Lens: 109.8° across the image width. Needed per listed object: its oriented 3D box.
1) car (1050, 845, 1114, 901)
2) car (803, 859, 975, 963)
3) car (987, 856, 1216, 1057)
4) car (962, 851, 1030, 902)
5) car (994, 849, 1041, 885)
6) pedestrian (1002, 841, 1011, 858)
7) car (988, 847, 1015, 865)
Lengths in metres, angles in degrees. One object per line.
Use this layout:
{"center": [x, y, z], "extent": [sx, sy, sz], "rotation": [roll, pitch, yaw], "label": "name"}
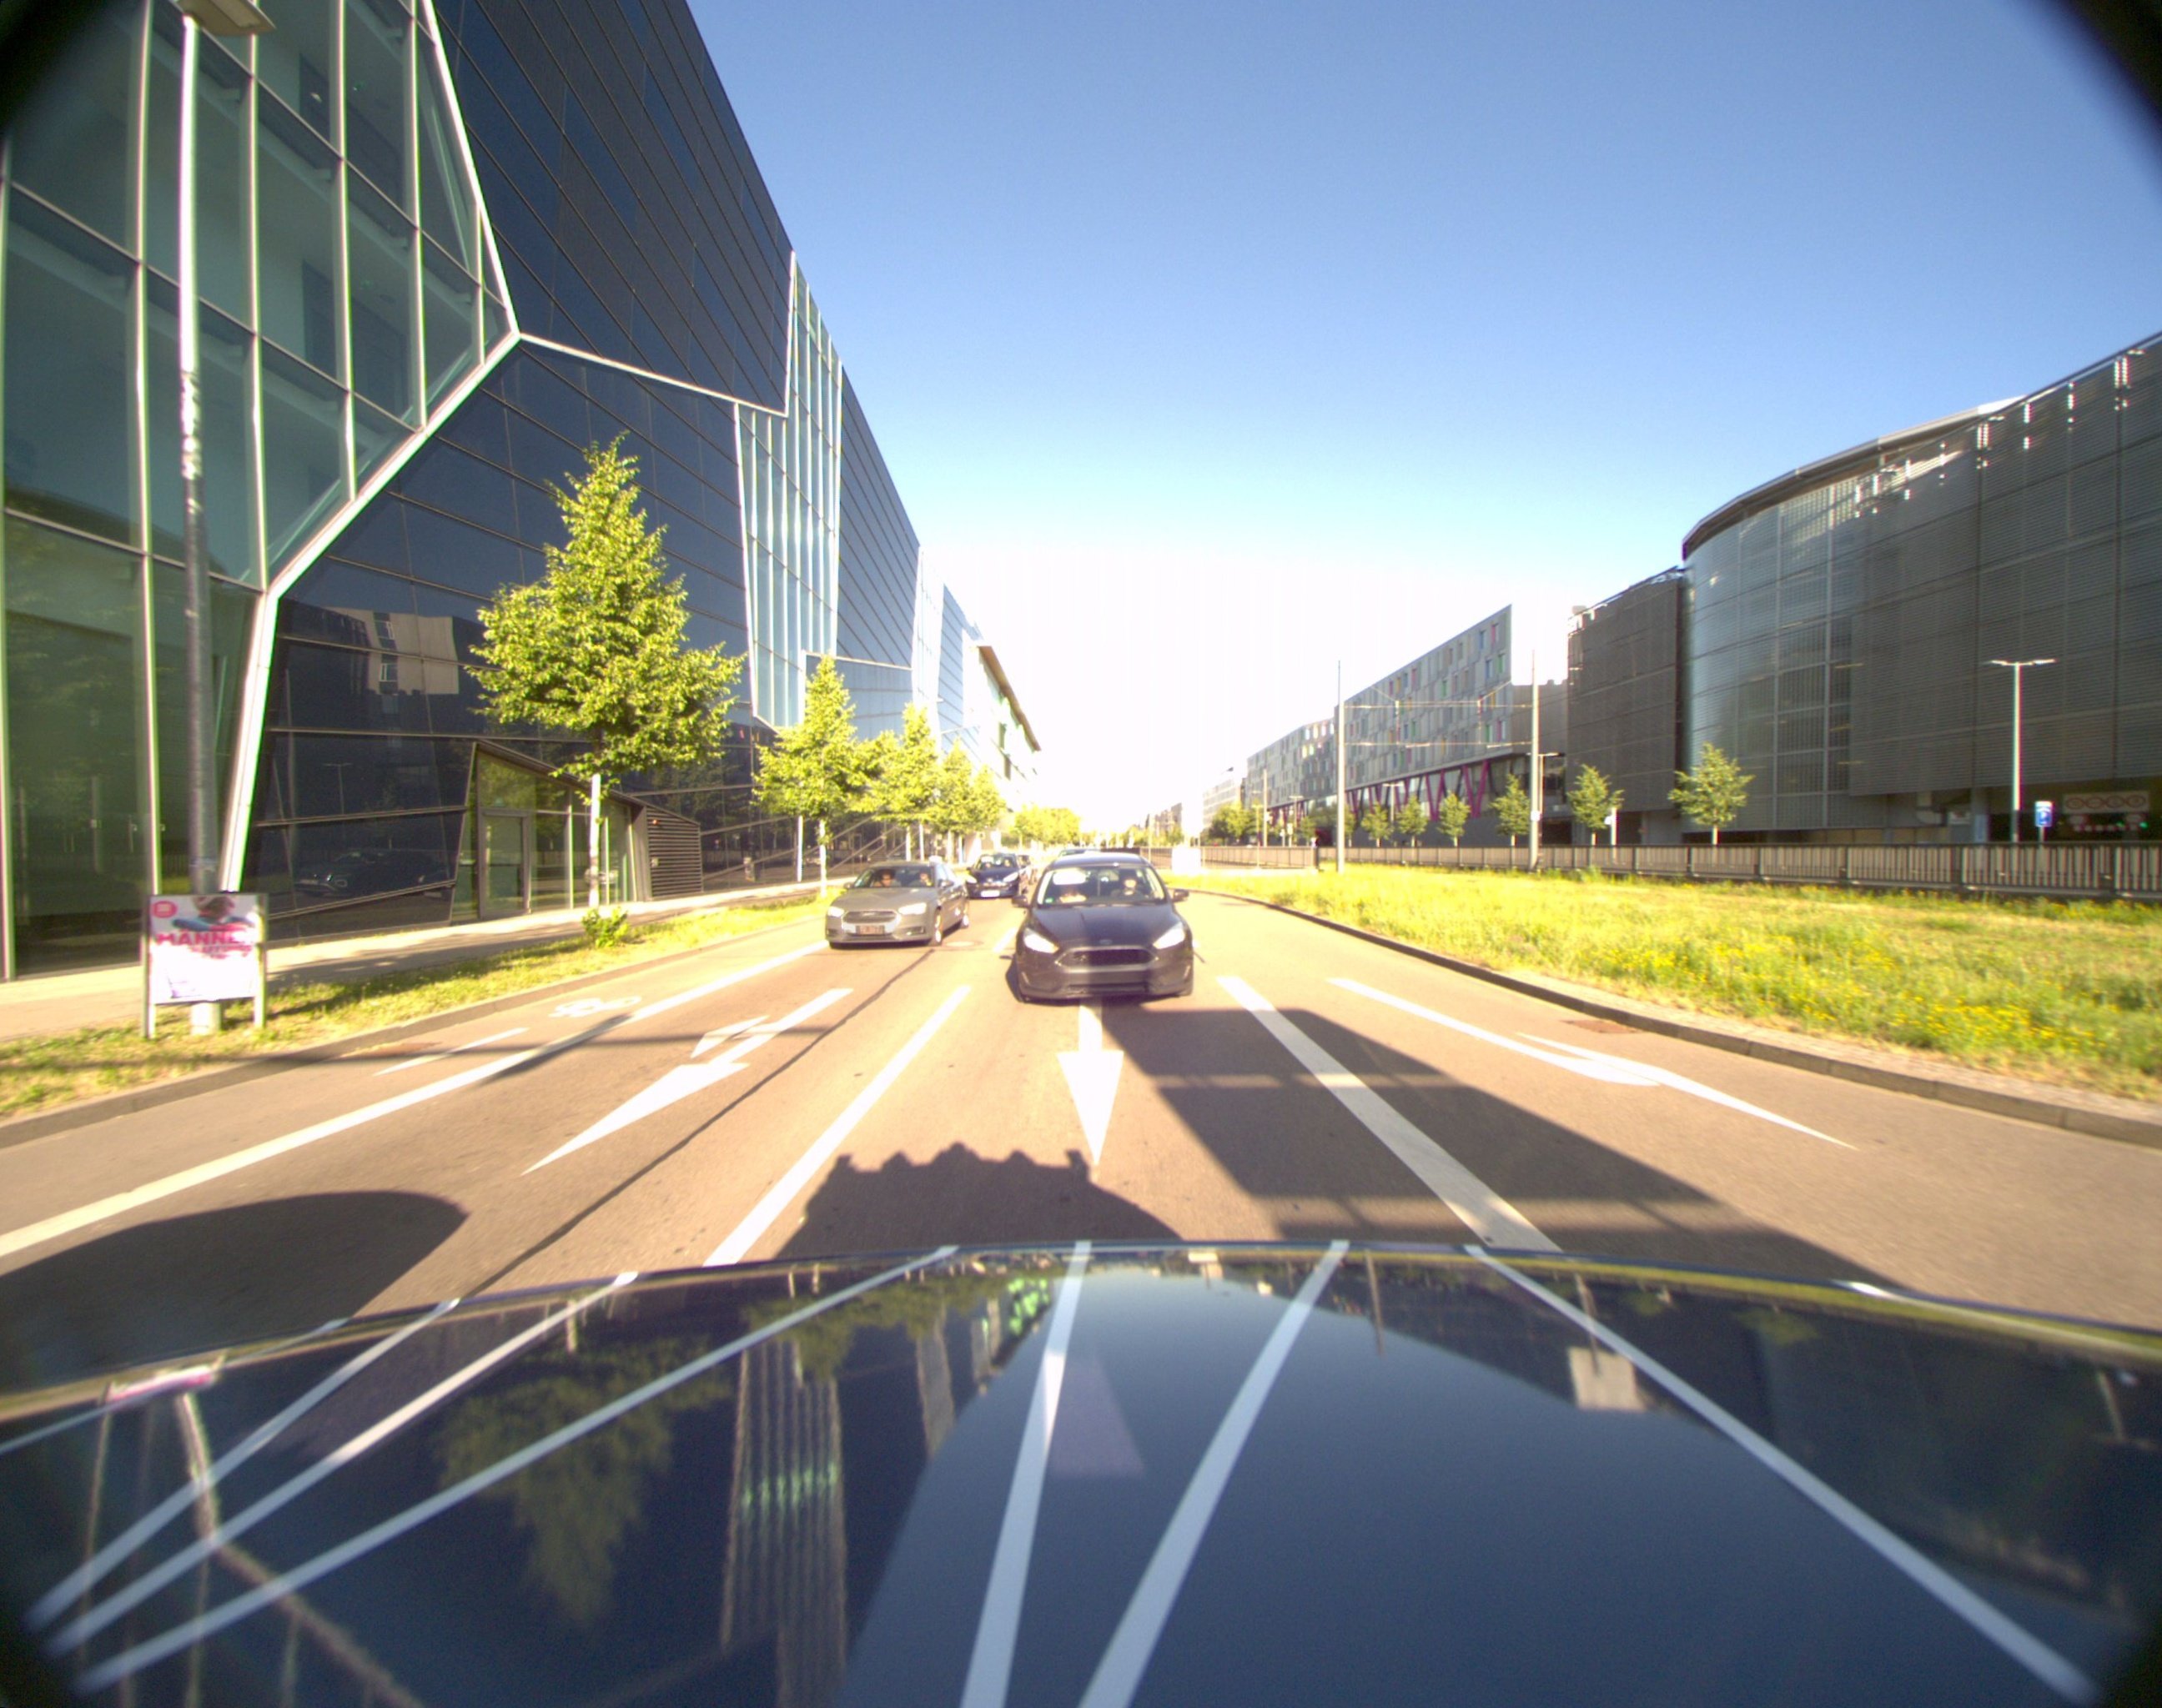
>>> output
{"center": [0.067, 0.555, 24.654], "extent": [1.907, 1.612, 3.999], "rotation": [0, 1, 1], "label": "car"}
{"center": [-3.168, 0.869, 13.477], "extent": [1.750, 1.384, 4.264], "rotation": [-2, 1, 3], "label": "car"}
{"center": [0.188, 0.825, 8.372], "extent": [1.787, 1.499, 4.589], "rotation": [-2, 1, 1], "label": "car"}
{"center": [-2.741, 0.691, 25.409], "extent": [1.753, 1.470, 3.971], "rotation": [-2, 1, 1], "label": "car"}
{"center": [-2.792, 0.554, 34.078], "extent": [1.753, 1.470, 3.417], "rotation": [-2, 1, 1], "label": "car"}
{"center": [-8.163, -0.527, 83.064], "extent": [0.828, 1.814, 0.905], "rotation": [3, 1, 0], "label": "pedestrian"}
{"center": [-6.660, 0.138, 64.155], "extent": [1.740, 1.490, 4.715], "rotation": [1, 1, 1], "label": "car"}
